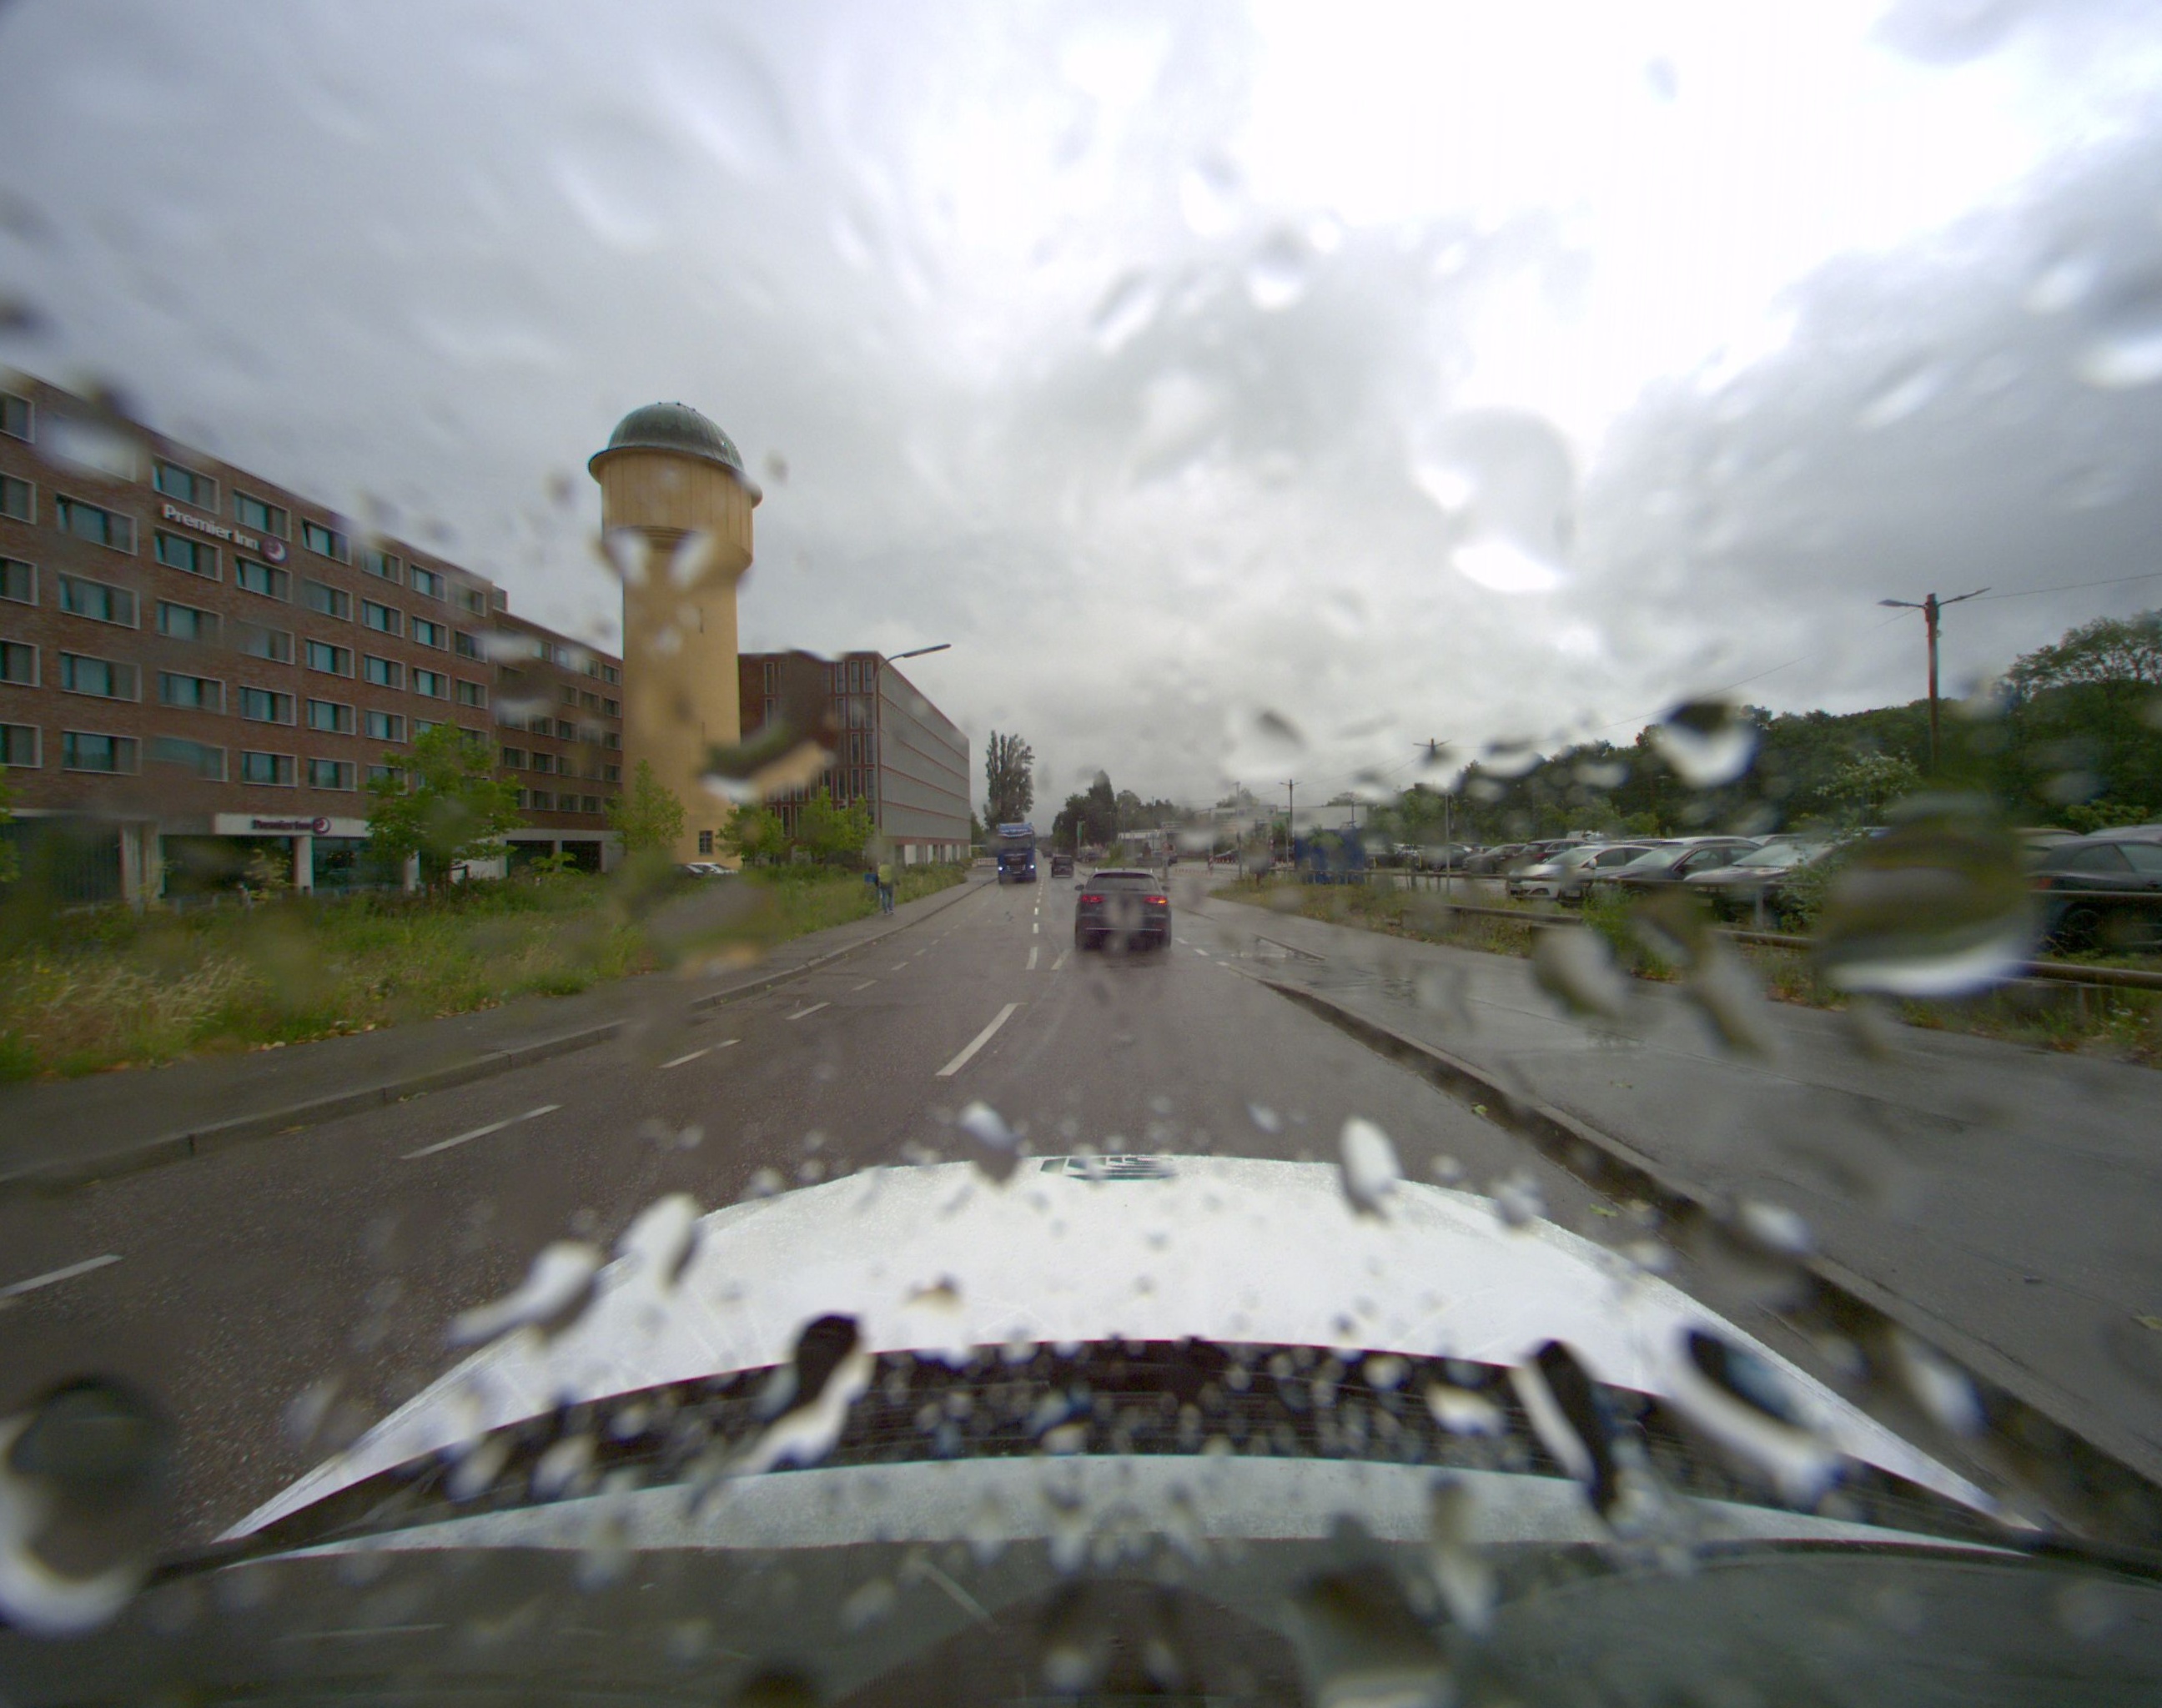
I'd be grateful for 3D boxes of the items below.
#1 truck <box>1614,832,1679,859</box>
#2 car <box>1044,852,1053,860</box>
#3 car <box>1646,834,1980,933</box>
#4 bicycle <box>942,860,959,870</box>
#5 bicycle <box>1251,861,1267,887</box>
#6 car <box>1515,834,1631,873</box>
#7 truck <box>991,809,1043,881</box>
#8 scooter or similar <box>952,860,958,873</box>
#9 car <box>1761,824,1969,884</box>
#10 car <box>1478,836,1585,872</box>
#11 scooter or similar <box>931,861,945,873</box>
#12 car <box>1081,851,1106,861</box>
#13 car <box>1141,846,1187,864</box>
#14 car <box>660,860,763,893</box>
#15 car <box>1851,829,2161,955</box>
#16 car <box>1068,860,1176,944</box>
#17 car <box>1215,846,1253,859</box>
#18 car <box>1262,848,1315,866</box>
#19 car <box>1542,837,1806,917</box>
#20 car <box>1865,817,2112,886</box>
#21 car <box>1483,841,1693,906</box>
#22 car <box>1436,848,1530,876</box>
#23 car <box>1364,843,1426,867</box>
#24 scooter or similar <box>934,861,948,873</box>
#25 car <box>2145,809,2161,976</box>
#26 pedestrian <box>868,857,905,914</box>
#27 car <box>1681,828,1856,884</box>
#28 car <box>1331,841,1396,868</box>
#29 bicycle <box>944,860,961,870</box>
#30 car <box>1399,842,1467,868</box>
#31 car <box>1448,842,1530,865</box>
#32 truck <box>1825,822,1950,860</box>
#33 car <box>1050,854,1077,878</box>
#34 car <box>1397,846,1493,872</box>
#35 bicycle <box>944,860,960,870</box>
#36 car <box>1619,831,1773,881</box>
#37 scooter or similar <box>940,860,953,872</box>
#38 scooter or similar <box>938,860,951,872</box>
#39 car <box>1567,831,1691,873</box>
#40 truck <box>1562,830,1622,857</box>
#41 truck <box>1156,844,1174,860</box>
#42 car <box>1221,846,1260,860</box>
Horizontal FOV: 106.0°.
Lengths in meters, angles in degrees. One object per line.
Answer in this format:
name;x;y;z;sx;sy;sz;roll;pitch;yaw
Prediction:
truck;47.461;-0.735;68.488;2.064;2.138;5.086;-2;0;2
car;-7.067;0.451;176.125;1.725;1.687;3.896;-1;0;-1
car;11.448;0.440;12.892;3.890;1.423;1.776;0;-1;-6
bicycle;-15.175;1.296;94.857;1.945;1.077;0.619;1;0;-5
bicycle;7.731;0.863;35.384;0.503;1.084;1.711;-2;0;18
car;21.556;-0.025;35.797;3.941;1.490;1.869;-3;-1;-1
truck;-4.436;-0.580;56.251;3.288;4.654;6.023;-1;0;-5
scooter or similar;-12.691;1.244;82.094;0.465;1.230;1.318;-2;0;-6
car;21.512;0.013;22.471;3.941;1.427;1.886;-3;-1;-1
car;20.969;0.021;38.040;3.941;1.490;1.869;-3;-1;-1
scooter or similar;-14.640;1.316;83.170;1.311;1.177;0.468;-2;0;2
car;2.056;0.389;135.344;4.123;1.569;1.764;0;-1;-1
car;8.772;0.118;86.476;4.664;1.735;2.128;-2;-1;1
car;-19.636;1.180;43.436;4.515;1.641;1.996;-1;0;-6
car;12.279;0.428;10.167;3.890;1.395;1.776;0;-1;-6
car;0.827;0.863;16.313;1.887;1.456;4.230;0;-1;3
car;17.718;-0.182;94.311;3.977;1.409;1.998;0;-1;-3
car;20.166;0.303;79.347;4.618;1.716;2.013;0;-1;-9
car;11.462;0.430;15.908;3.890;1.423;1.902;0;-1;-6
car;22.064;-0.039;19.920;3.941;1.427;1.886;-3;-1;-1
car;11.635;0.443;18.854;3.766;1.393;1.902;0;-1;-6
car;20.223;0.418;41.034;3.873;1.221;1.648;-3;-1;1
car;24.773;0.081;64.362;4.050;1.605;1.925;-3;-1;-3
scooter or similar;-14.174;1.316;82.655;1.311;1.177;0.468;-2;0;2
car;12.385;0.342;7.179;3.890;1.595;1.893;0;-1;-6
pedestrian;-6.073;0.958;25.472;0.906;1.718;1.025;-1;-1;-3
car;21.234;0.067;25.259;3.941;1.490;1.777;-3;-1;-2
car;19.256;0.049;55.691;3.763;1.584;1.786;-4;-1;-1
bicycle;-15.341;1.302;97.261;1.856;1.077;0.543;1;0;-5
car;25.269;0.086;58.578;4.054;1.659;1.829;-3;-1;-5
car;24.540;-0.026;49.060;4.054;1.072;1.829;-3;-1;-5
truck;47.545;-0.756;48.201;2.076;2.013;5.276;-2;1;-2
car;-1.479;0.963;66.640;1.990;1.910;4.195;-2;0;-4
car;20.659;0.305;46.308;4.579;1.221;1.975;-3;-1;-5
bicycle;-15.262;1.312;96.375;1.856;1.077;0.543;1;0;-5
car;20.988;0.075;27.898;3.941;1.490;1.777;-3;-1;-2
scooter or similar;-14.060;1.256;85.168;0.461;1.230;1.216;-2;0;39
scooter or similar;-14.127;1.265;84.351;1.319;1.177;0.465;-2;0;-15
car;22.611;-0.073;33.696;3.941;1.490;1.777;-3;-1;-2
truck;47.268;-0.935;75.471;2.068;2.401;5.078;-2;0;-3
truck;14.880;-0.402;144.403;2.293;2.659;7.415;-2;1;0
car;17.836;-0.095;91.327;3.977;1.485;1.998;0;-1;-3
